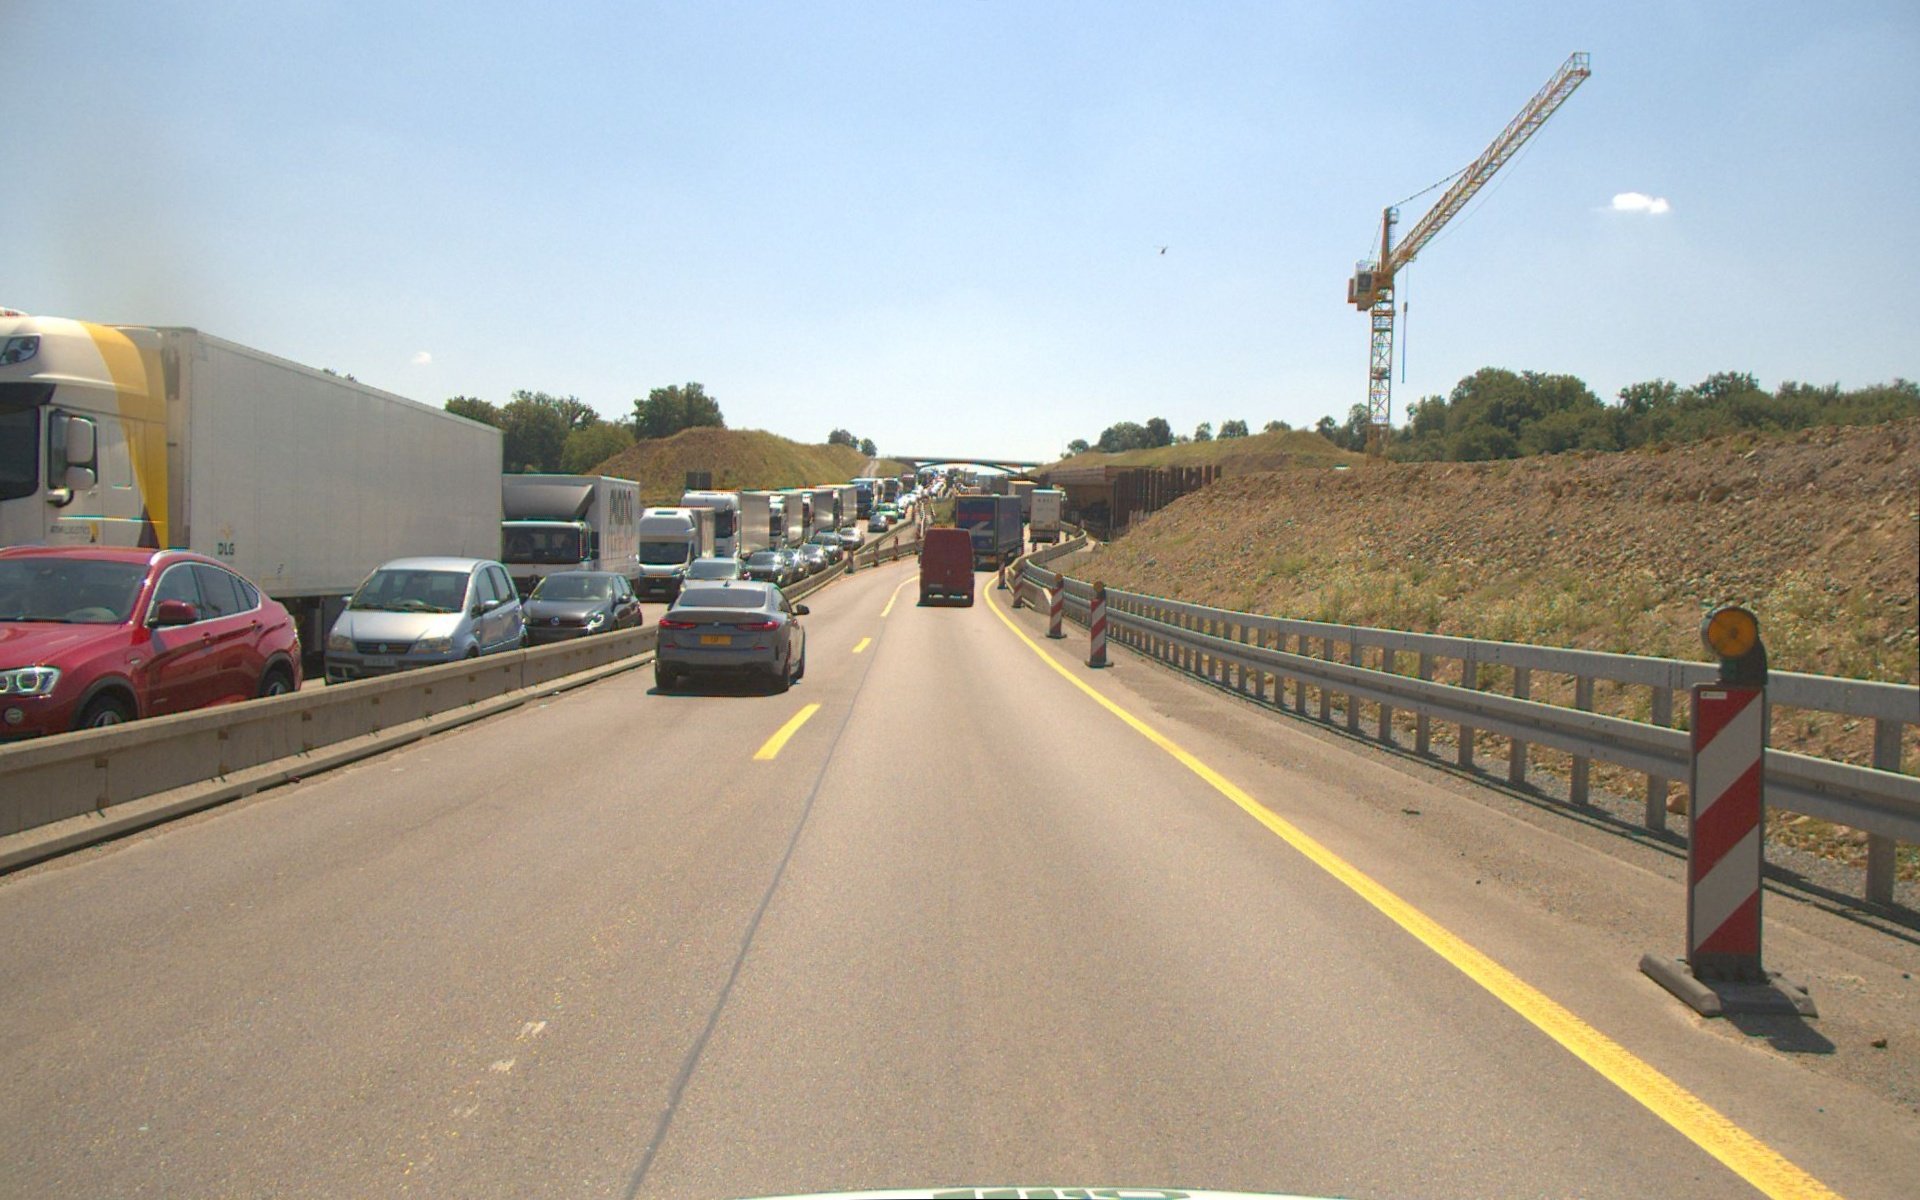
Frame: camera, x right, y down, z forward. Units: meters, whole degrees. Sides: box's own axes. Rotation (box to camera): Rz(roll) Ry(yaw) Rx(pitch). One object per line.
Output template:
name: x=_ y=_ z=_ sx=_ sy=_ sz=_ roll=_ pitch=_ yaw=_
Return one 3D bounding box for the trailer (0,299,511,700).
trailer: x=-9.907 y=-1.201 z=24.774 sx=2.926 sy=4.281 sz=13.942 roll=1 pitch=1 yaw=-2

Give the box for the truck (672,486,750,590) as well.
truck: x=-10.883 y=-2.719 z=72.755 sx=2.499 sy=4.304 sz=6.530 roll=1 pitch=2 yaw=-1

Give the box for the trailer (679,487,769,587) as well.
trailer: x=-11.005 y=-2.912 z=78.312 sx=2.542 sy=4.331 sz=12.467 roll=1 pitch=2 yaw=-1

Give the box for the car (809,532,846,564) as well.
car: x=-7.812 y=-3.073 z=97.956 sx=1.953 sy=1.814 sz=3.999 roll=1 pitch=2 yaw=-2

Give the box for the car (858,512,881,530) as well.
car: x=-8.109 y=-7.081 z=148.765 sx=1.913 sy=1.556 sz=4.267 roll=1 pitch=2 yaw=-1

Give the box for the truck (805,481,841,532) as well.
truck: x=-11.113 y=-7.579 z=134.982 sx=2.629 sy=3.905 sz=7.383 roll=1 pitch=2 yaw=-3

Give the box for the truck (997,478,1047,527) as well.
truck: x=7.078 y=-10.873 z=186.235 sx=5.051 sy=5.083 sz=13.886 roll=-1 pitch=2 yaw=4

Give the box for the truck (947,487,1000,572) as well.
truck: x=0.732 y=-4.106 z=96.917 sx=2.959 sy=4.774 sz=6.933 roll=-1 pitch=2 yaw=0

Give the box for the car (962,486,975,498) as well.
car: x=1.322 y=-16.674 z=255.721 sx=1.913 sy=1.669 sz=4.267 roll=1 pitch=2 yaw=-1

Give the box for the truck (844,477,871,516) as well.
truck: x=-11.255 y=-11.349 z=182.369 sx=2.830 sy=3.905 sz=7.999 roll=1 pitch=2 yaw=-3

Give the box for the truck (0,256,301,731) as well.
truck: x=-9.688 y=-1.028 z=17.762 sx=2.917 sy=4.257 sz=5.873 roll=1 pitch=1 yaw=-2

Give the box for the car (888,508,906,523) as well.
car: x=-7.042 y=-9.505 z=185.260 sx=1.913 sy=1.556 sz=4.267 roll=1 pitch=2 yaw=-1

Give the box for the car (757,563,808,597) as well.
car: x=-8.098 y=-0.953 z=75.801 sx=1.864 sy=1.400 sz=4.546 roll=-2 pitch=2 yaw=-1

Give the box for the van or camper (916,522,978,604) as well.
van or camper: x=-0.503 y=-1.340 z=59.590 sx=1.988 sy=2.791 sz=4.514 roll=1 pitch=2 yaw=-3

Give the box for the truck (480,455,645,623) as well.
truck: x=-10.270 y=-1.559 z=43.652 sx=2.474 sy=3.922 sz=8.669 roll=1 pitch=1 yaw=-2

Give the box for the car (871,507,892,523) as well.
car: x=-7.954 y=-8.635 z=168.206 sx=1.913 sy=1.556 sz=4.267 roll=1 pitch=2 yaw=-1

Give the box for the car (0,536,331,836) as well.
car: x=-6.333 y=0.406 z=11.829 sx=1.953 sy=1.659 sz=4.757 roll=2 pitch=2 yaw=-2

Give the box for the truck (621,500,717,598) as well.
truck: x=-10.168 y=-1.826 z=58.370 sx=2.385 sy=3.202 sz=7.022 roll=0 pitch=2 yaw=-2

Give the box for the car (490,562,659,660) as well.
car: x=-6.753 y=0.175 z=29.466 sx=1.953 sy=1.584 sz=4.338 roll=1 pitch=0 yaw=0

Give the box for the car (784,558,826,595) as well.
car: x=-8.020 y=-1.211 z=85.828 sx=1.953 sy=1.814 sz=3.998 roll=1 pitch=0 yaw=-2

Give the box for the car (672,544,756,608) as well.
car: x=-7.188 y=-0.697 z=48.725 sx=1.790 sy=1.679 sz=4.545 roll=4 pitch=1 yaw=-2

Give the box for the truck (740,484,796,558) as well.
truck: x=-10.937 y=-4.433 z=94.426 sx=2.727 sy=3.937 sz=5.458 roll=1 pitch=0 yaw=-2

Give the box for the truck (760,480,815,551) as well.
truck: x=-11.533 y=-5.641 z=110.904 sx=2.989 sy=4.558 sz=5.981 roll=1 pitch=2 yaw=0

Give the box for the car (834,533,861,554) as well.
car: x=-7.994 y=-4.050 z=118.134 sx=1.711 sy=1.433 sz=4.000 roll=1 pitch=2 yaw=-1

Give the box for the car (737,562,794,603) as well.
car: x=-7.670 y=-0.699 z=65.566 sx=1.790 sy=1.562 sz=4.545 roll=1 pitch=1 yaw=-1

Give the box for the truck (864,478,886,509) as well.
truck: x=-11.509 y=-14.383 z=223.514 sx=2.830 sy=3.905 sz=7.999 roll=1 pitch=2 yaw=-3

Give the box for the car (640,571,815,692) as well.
car: x=-3.143 y=0.367 z=23.248 sx=1.814 sy=1.477 sz=4.741 roll=1 pitch=1 yaw=-1

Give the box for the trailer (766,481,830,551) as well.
trailer: x=-11.324 y=-5.832 z=116.834 sx=2.979 sy=4.631 sz=12.132 roll=1 pitch=2 yaw=2

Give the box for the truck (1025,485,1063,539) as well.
truck: x=7.102 y=-7.312 z=139.147 sx=2.974 sy=4.172 sz=7.089 roll=0 pitch=0 yaw=4

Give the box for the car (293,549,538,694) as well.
car: x=-6.607 y=0.223 z=20.529 sx=1.790 sy=1.601 sz=3.999 roll=1 pitch=0 yaw=-2
